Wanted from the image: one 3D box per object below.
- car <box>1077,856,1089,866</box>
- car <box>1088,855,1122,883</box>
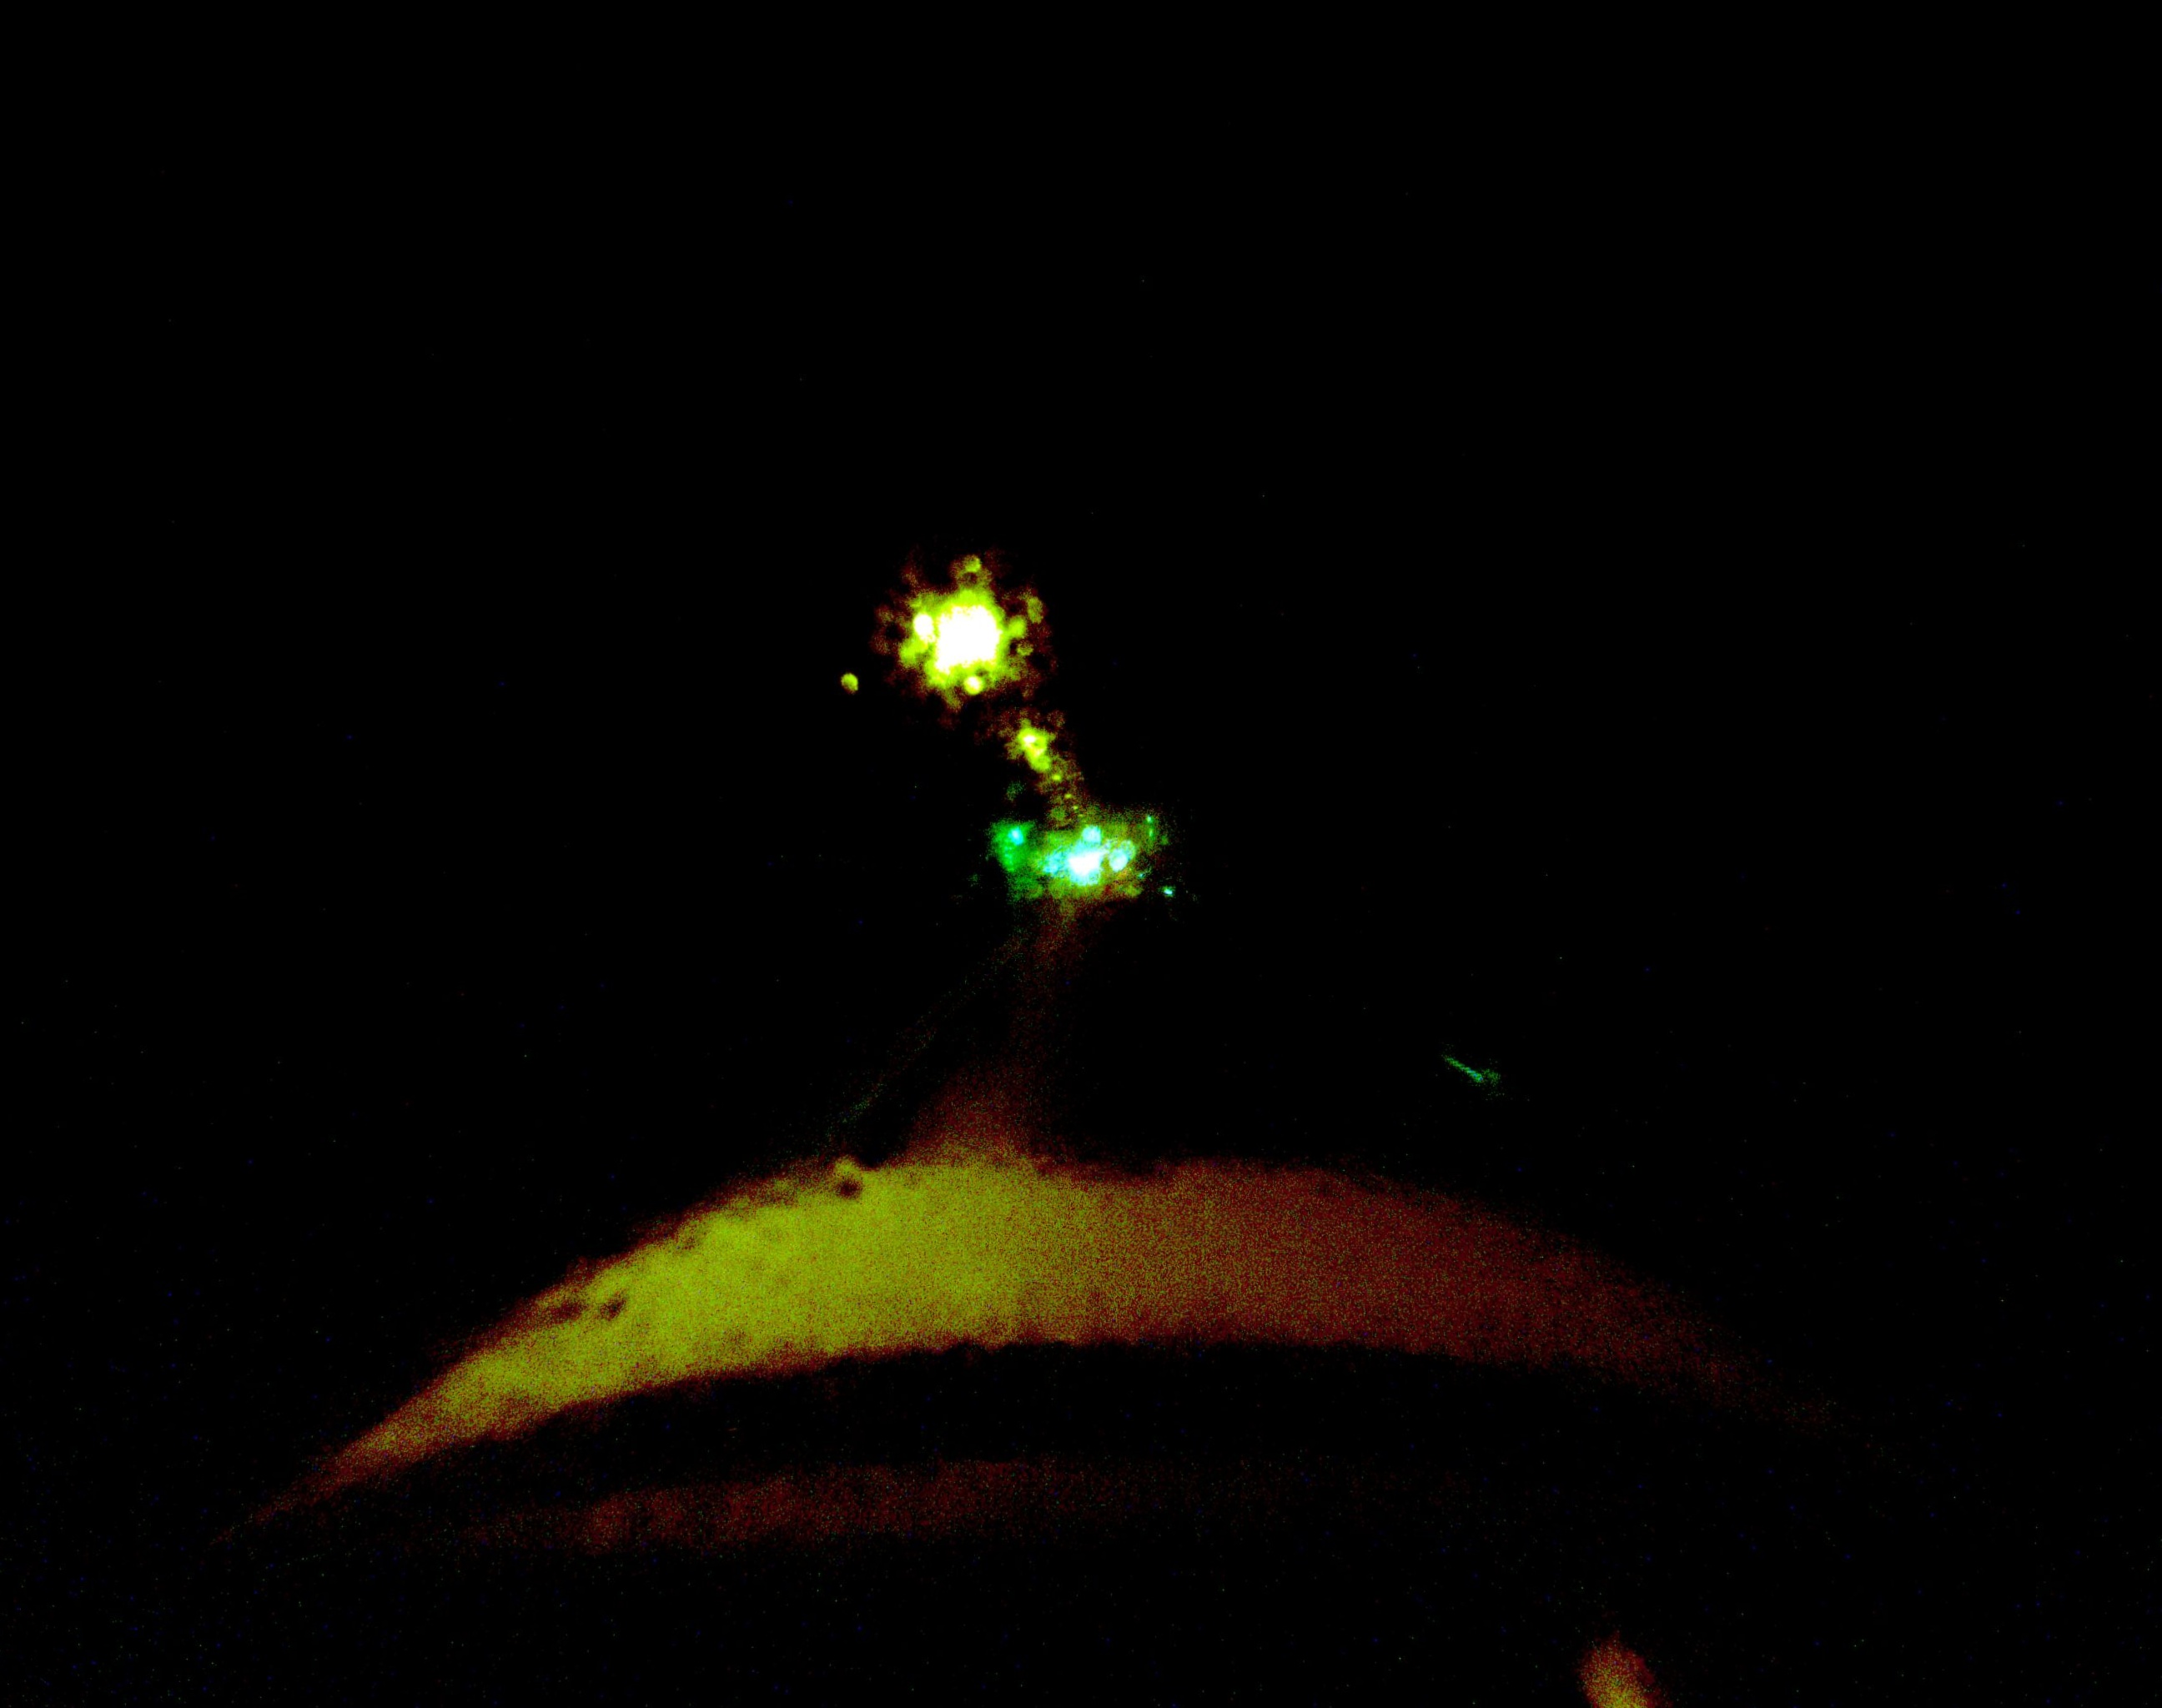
[{"bbox_3d":[0.248,1.031,121.390,1.685,1.505,3.745,-1,0,1],"label":"car"},{"bbox_3d":[1.521,0.969,52.575,2.082,1.662,4.001,-2,-1,1],"label":"car"}]
